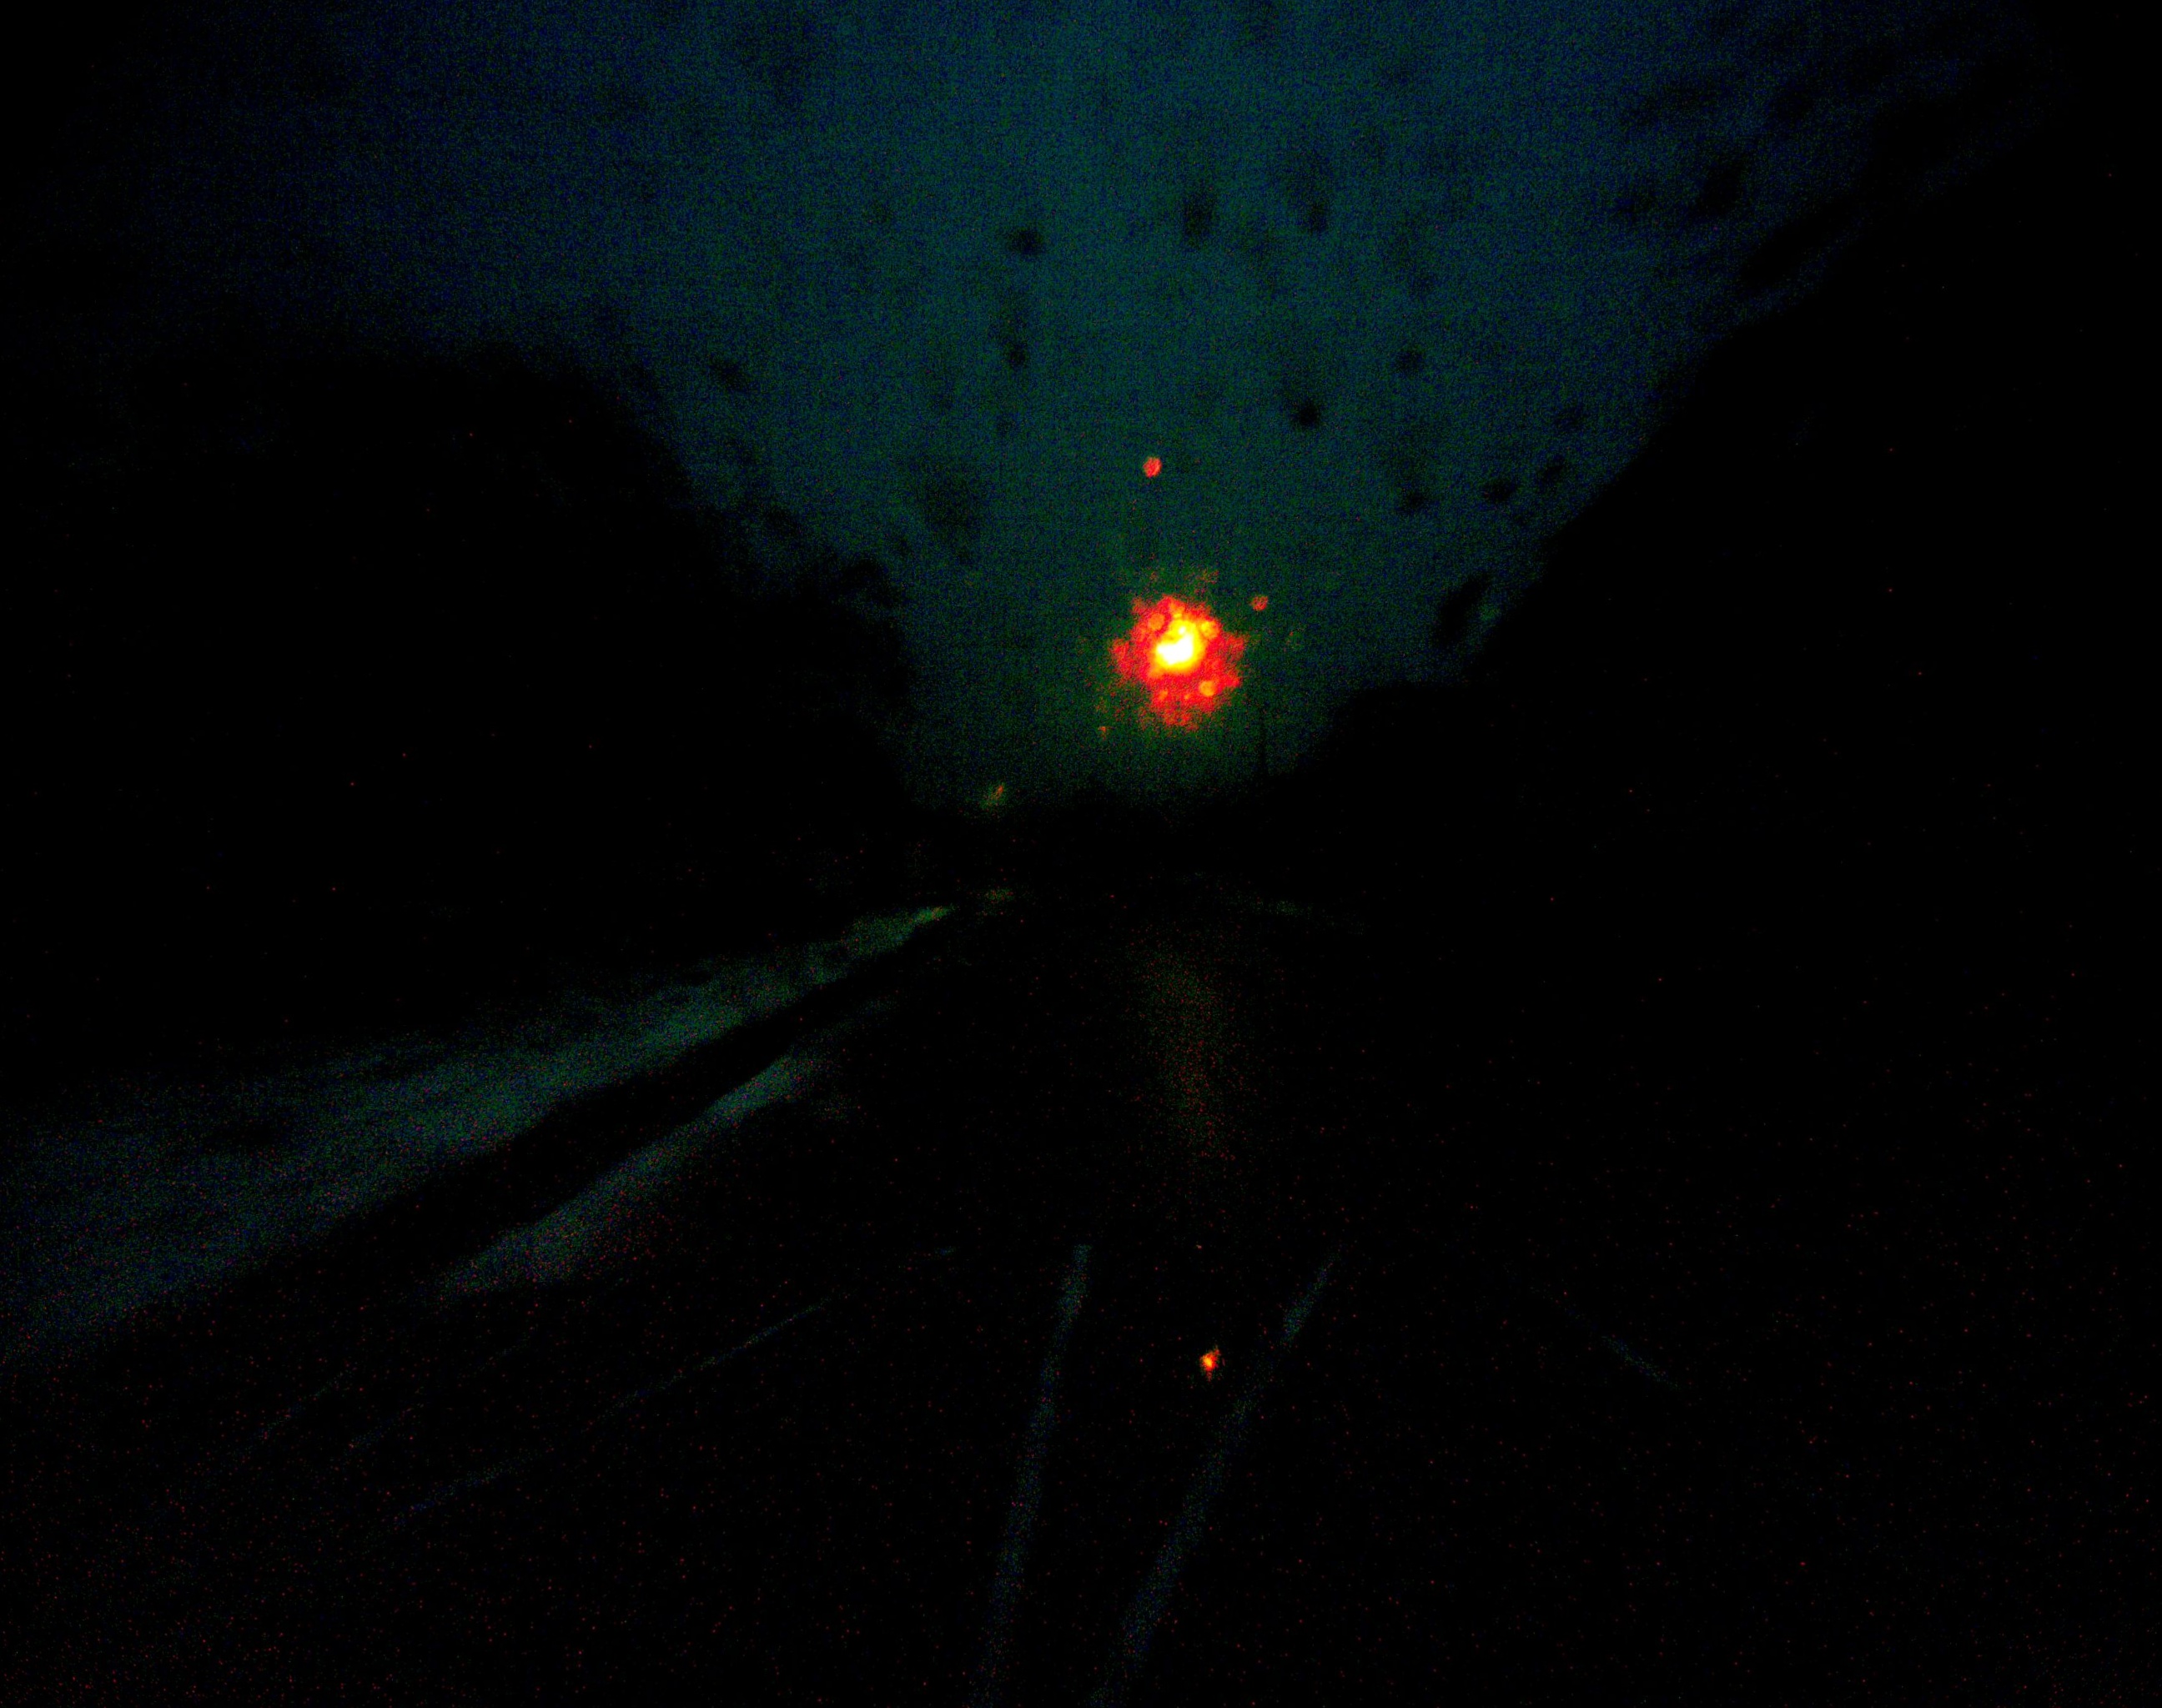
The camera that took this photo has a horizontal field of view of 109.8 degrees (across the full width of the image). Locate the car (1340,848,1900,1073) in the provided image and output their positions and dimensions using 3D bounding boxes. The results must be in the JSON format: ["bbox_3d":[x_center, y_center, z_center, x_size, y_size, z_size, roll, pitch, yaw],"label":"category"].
[{"bbox_3d":[4.567,0.720,7.833,1.881,1.418,5.391,-3,0,0],"label":"car"}]

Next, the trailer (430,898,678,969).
[{"bbox_3d":[-11.542,1.711,16.971,3.881,1.085,2.244,-4,0,-7],"label":"trailer"}]

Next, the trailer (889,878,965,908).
[{"bbox_3d":[-5.725,1.394,27.947,1.552,0.940,3.991,-1,-1,-30],"label":"trailer"}]

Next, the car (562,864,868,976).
[{"bbox_3d":[-6.467,1.126,13.861,4.461,1.374,2.036,-6,0,1],"label":"car"}]
